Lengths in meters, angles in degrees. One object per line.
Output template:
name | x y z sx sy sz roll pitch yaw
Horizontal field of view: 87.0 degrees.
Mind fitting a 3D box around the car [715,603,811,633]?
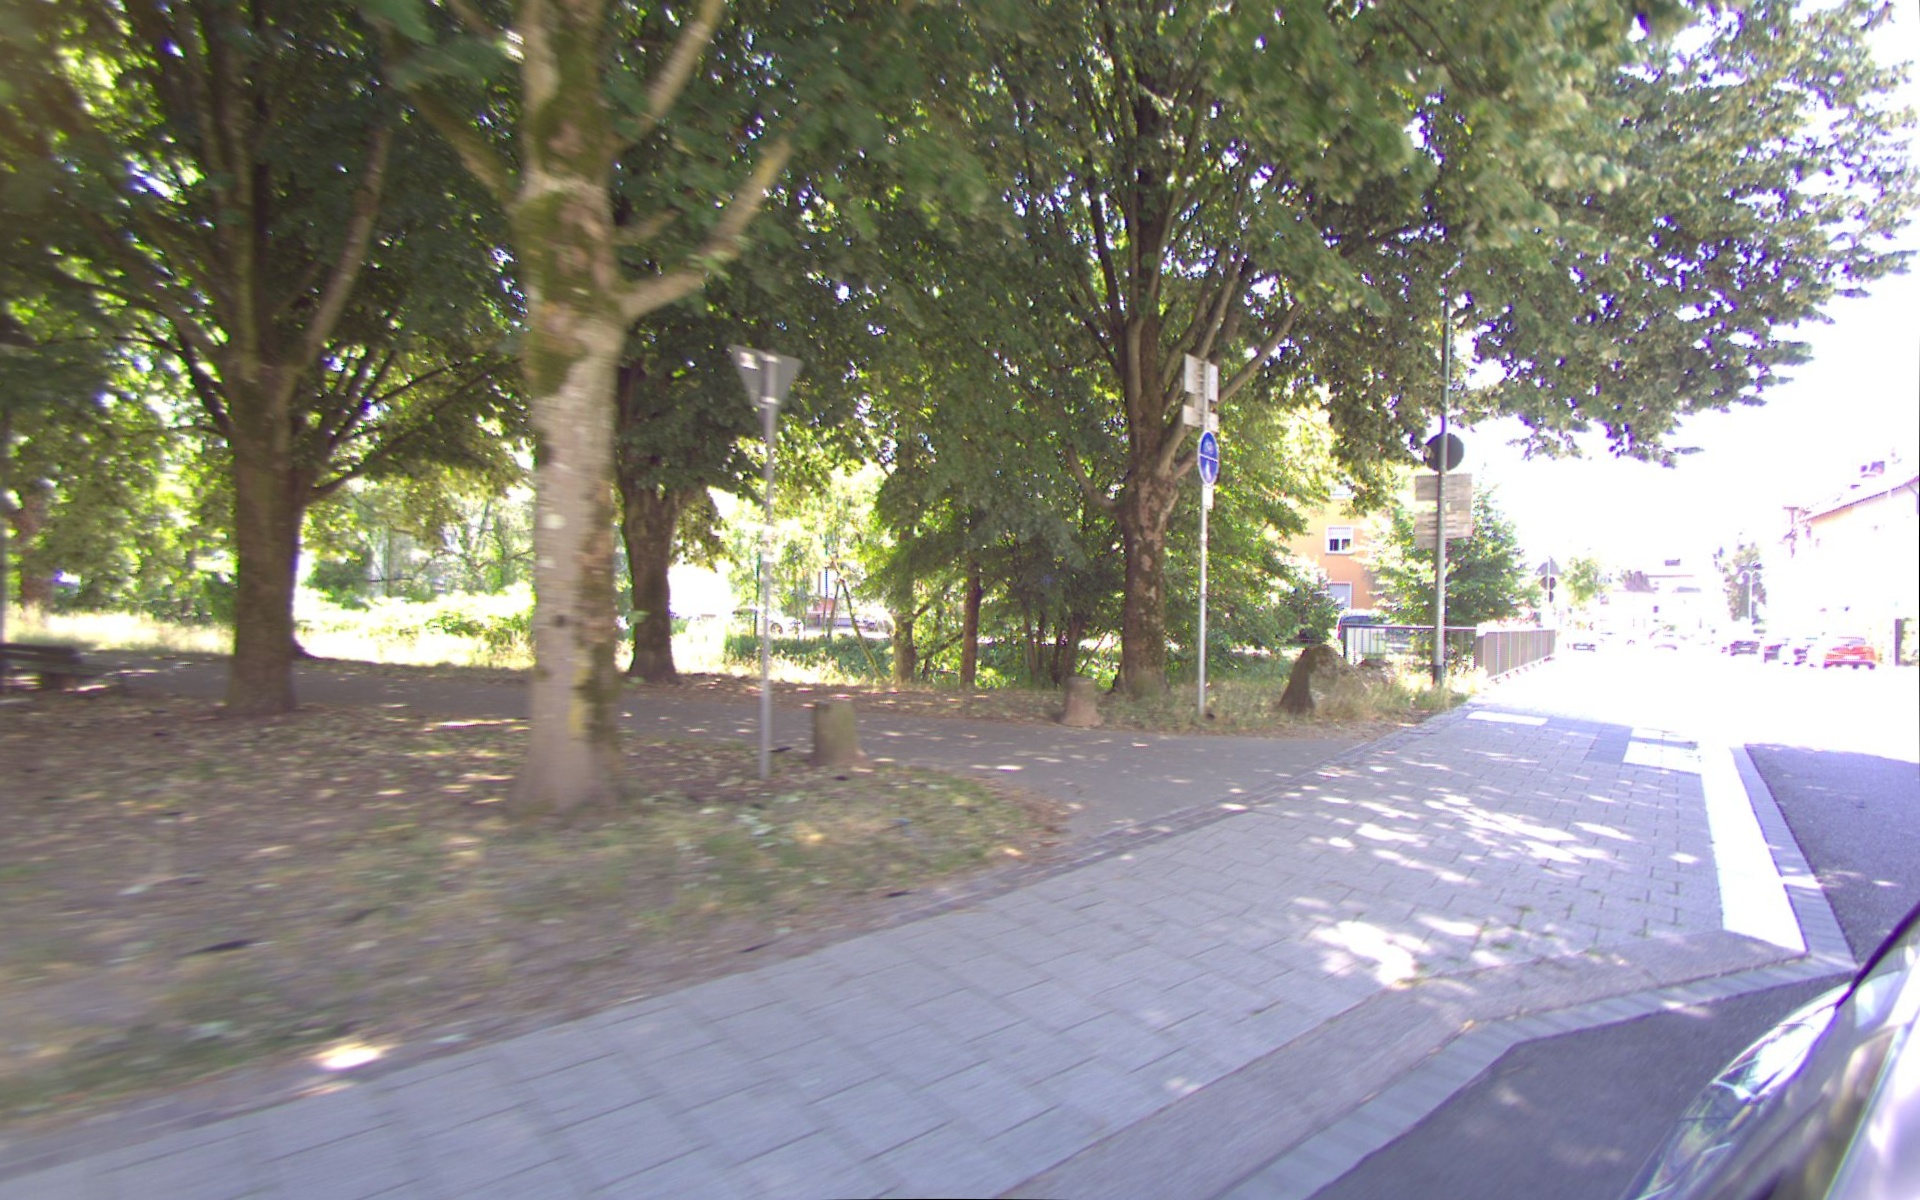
car | -9.816 0.863 50.413 4.463 1.399 1.893 0 -1 24

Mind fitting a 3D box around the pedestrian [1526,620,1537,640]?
pedestrian | 54.404 2.872 96.280 0.815 1.876 0.975 2 1 28

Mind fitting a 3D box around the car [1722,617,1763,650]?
car | 61.732 2.616 79.877 2.111 2.481 6.041 -1 -2 34

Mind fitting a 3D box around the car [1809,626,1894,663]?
car | 38.247 1.907 43.541 1.868 1.499 4.684 -2 -3 31

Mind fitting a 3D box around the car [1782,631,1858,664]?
car | 41.155 2.259 48.548 1.854 1.481 5.248 -1 -3 30

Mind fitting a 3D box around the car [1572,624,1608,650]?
car | 41.795 2.413 67.210 1.825 1.523 5.007 4 0 31

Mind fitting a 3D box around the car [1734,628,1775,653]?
car | 55.572 2.845 70.728 2.082 1.635 5.033 -1 -2 40

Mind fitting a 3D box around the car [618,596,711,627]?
car | -15.352 0.598 52.593 4.463 1.550 1.984 0 -2 24

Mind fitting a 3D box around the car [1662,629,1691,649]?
car | 65.114 3.546 91.985 1.870 1.617 4.307 3 0 33

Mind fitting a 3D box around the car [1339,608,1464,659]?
car | 16.895 1.255 38.918 4.303 1.862 1.736 0 -1 24

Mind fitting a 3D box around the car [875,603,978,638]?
car | -1.562 0.915 46.861 4.463 1.440 1.746 1 1 24

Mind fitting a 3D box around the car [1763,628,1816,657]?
car | 43.998 2.287 53.775 1.781 1.478 4.144 -2 -3 35
